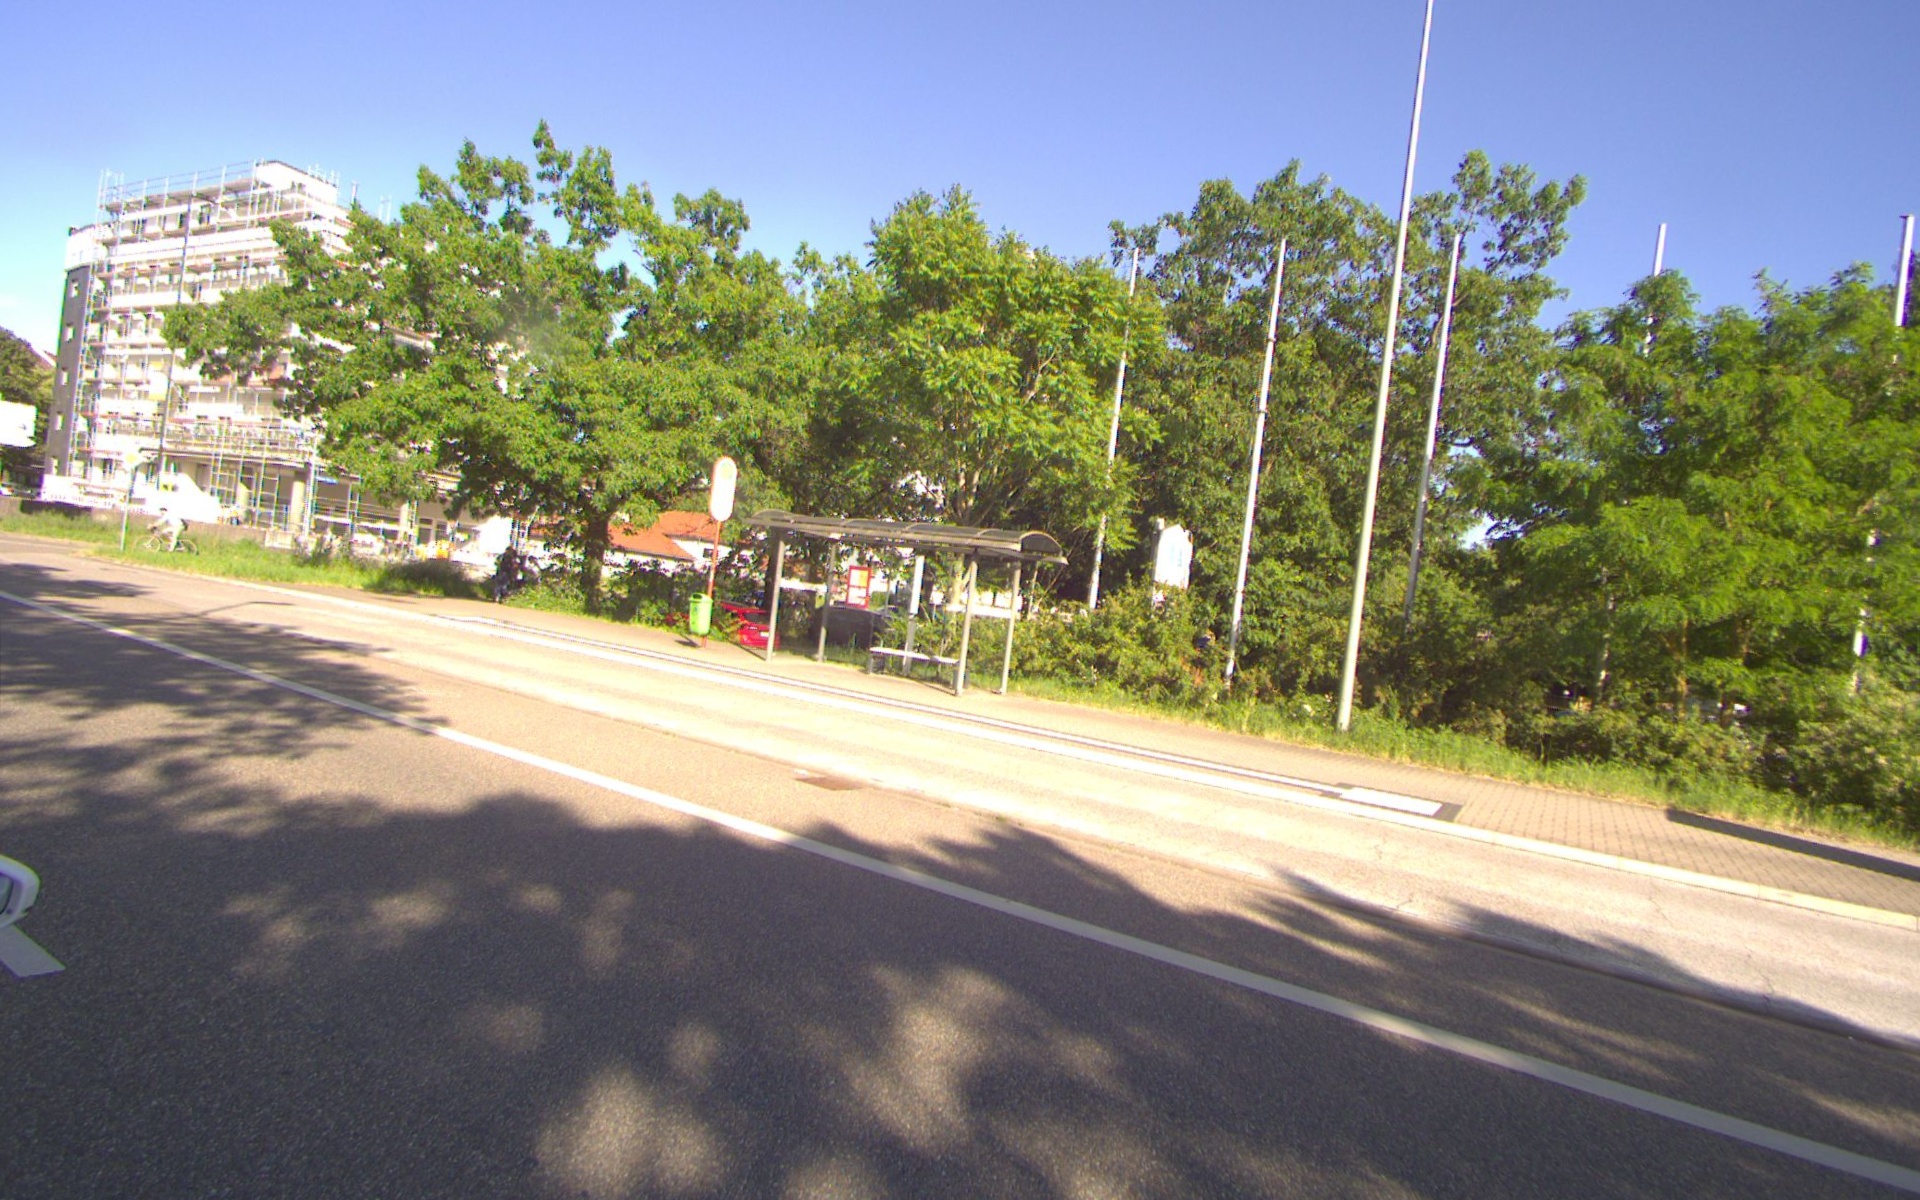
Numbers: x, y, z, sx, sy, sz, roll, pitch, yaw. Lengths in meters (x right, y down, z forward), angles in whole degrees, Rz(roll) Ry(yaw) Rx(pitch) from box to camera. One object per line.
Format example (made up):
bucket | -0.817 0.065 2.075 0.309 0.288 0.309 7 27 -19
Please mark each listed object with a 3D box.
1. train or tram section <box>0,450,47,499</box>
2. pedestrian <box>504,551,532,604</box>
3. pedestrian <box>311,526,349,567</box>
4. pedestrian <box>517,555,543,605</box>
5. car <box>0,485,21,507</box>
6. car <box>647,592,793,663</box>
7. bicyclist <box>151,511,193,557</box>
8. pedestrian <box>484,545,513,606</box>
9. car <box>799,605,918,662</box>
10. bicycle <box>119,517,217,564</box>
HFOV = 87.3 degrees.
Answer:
train or tram section | -86.743 -11.568 88.637 3.266 3.816 20.675 7 0 -26
pedestrian | -12.713 -0.655 28.942 0.517 1.465 0.587 7 1 -32
pedestrian | -28.685 -2.431 45.804 0.969 1.674 0.891 7 0 2
pedestrian | -13.398 -0.634 31.322 0.517 1.465 0.587 7 1 -32
car | -66.545 -7.268 69.990 1.521 1.330 3.250 7 0 -40
car | -6.870 0.792 28.740 3.680 1.504 1.755 7 0 28
bicyclist | -27.543 -2.302 35.162 0.732 1.454 0.843 6 -1 33
pedestrian | -12.997 -0.702 28.343 0.517 1.632 0.587 7 1 -32
car | -3.585 1.194 35.974 3.674 1.504 1.914 7 0 13
bicycle | -27.615 -2.063 35.122 0.699 1.212 2.516 6 -2 32
